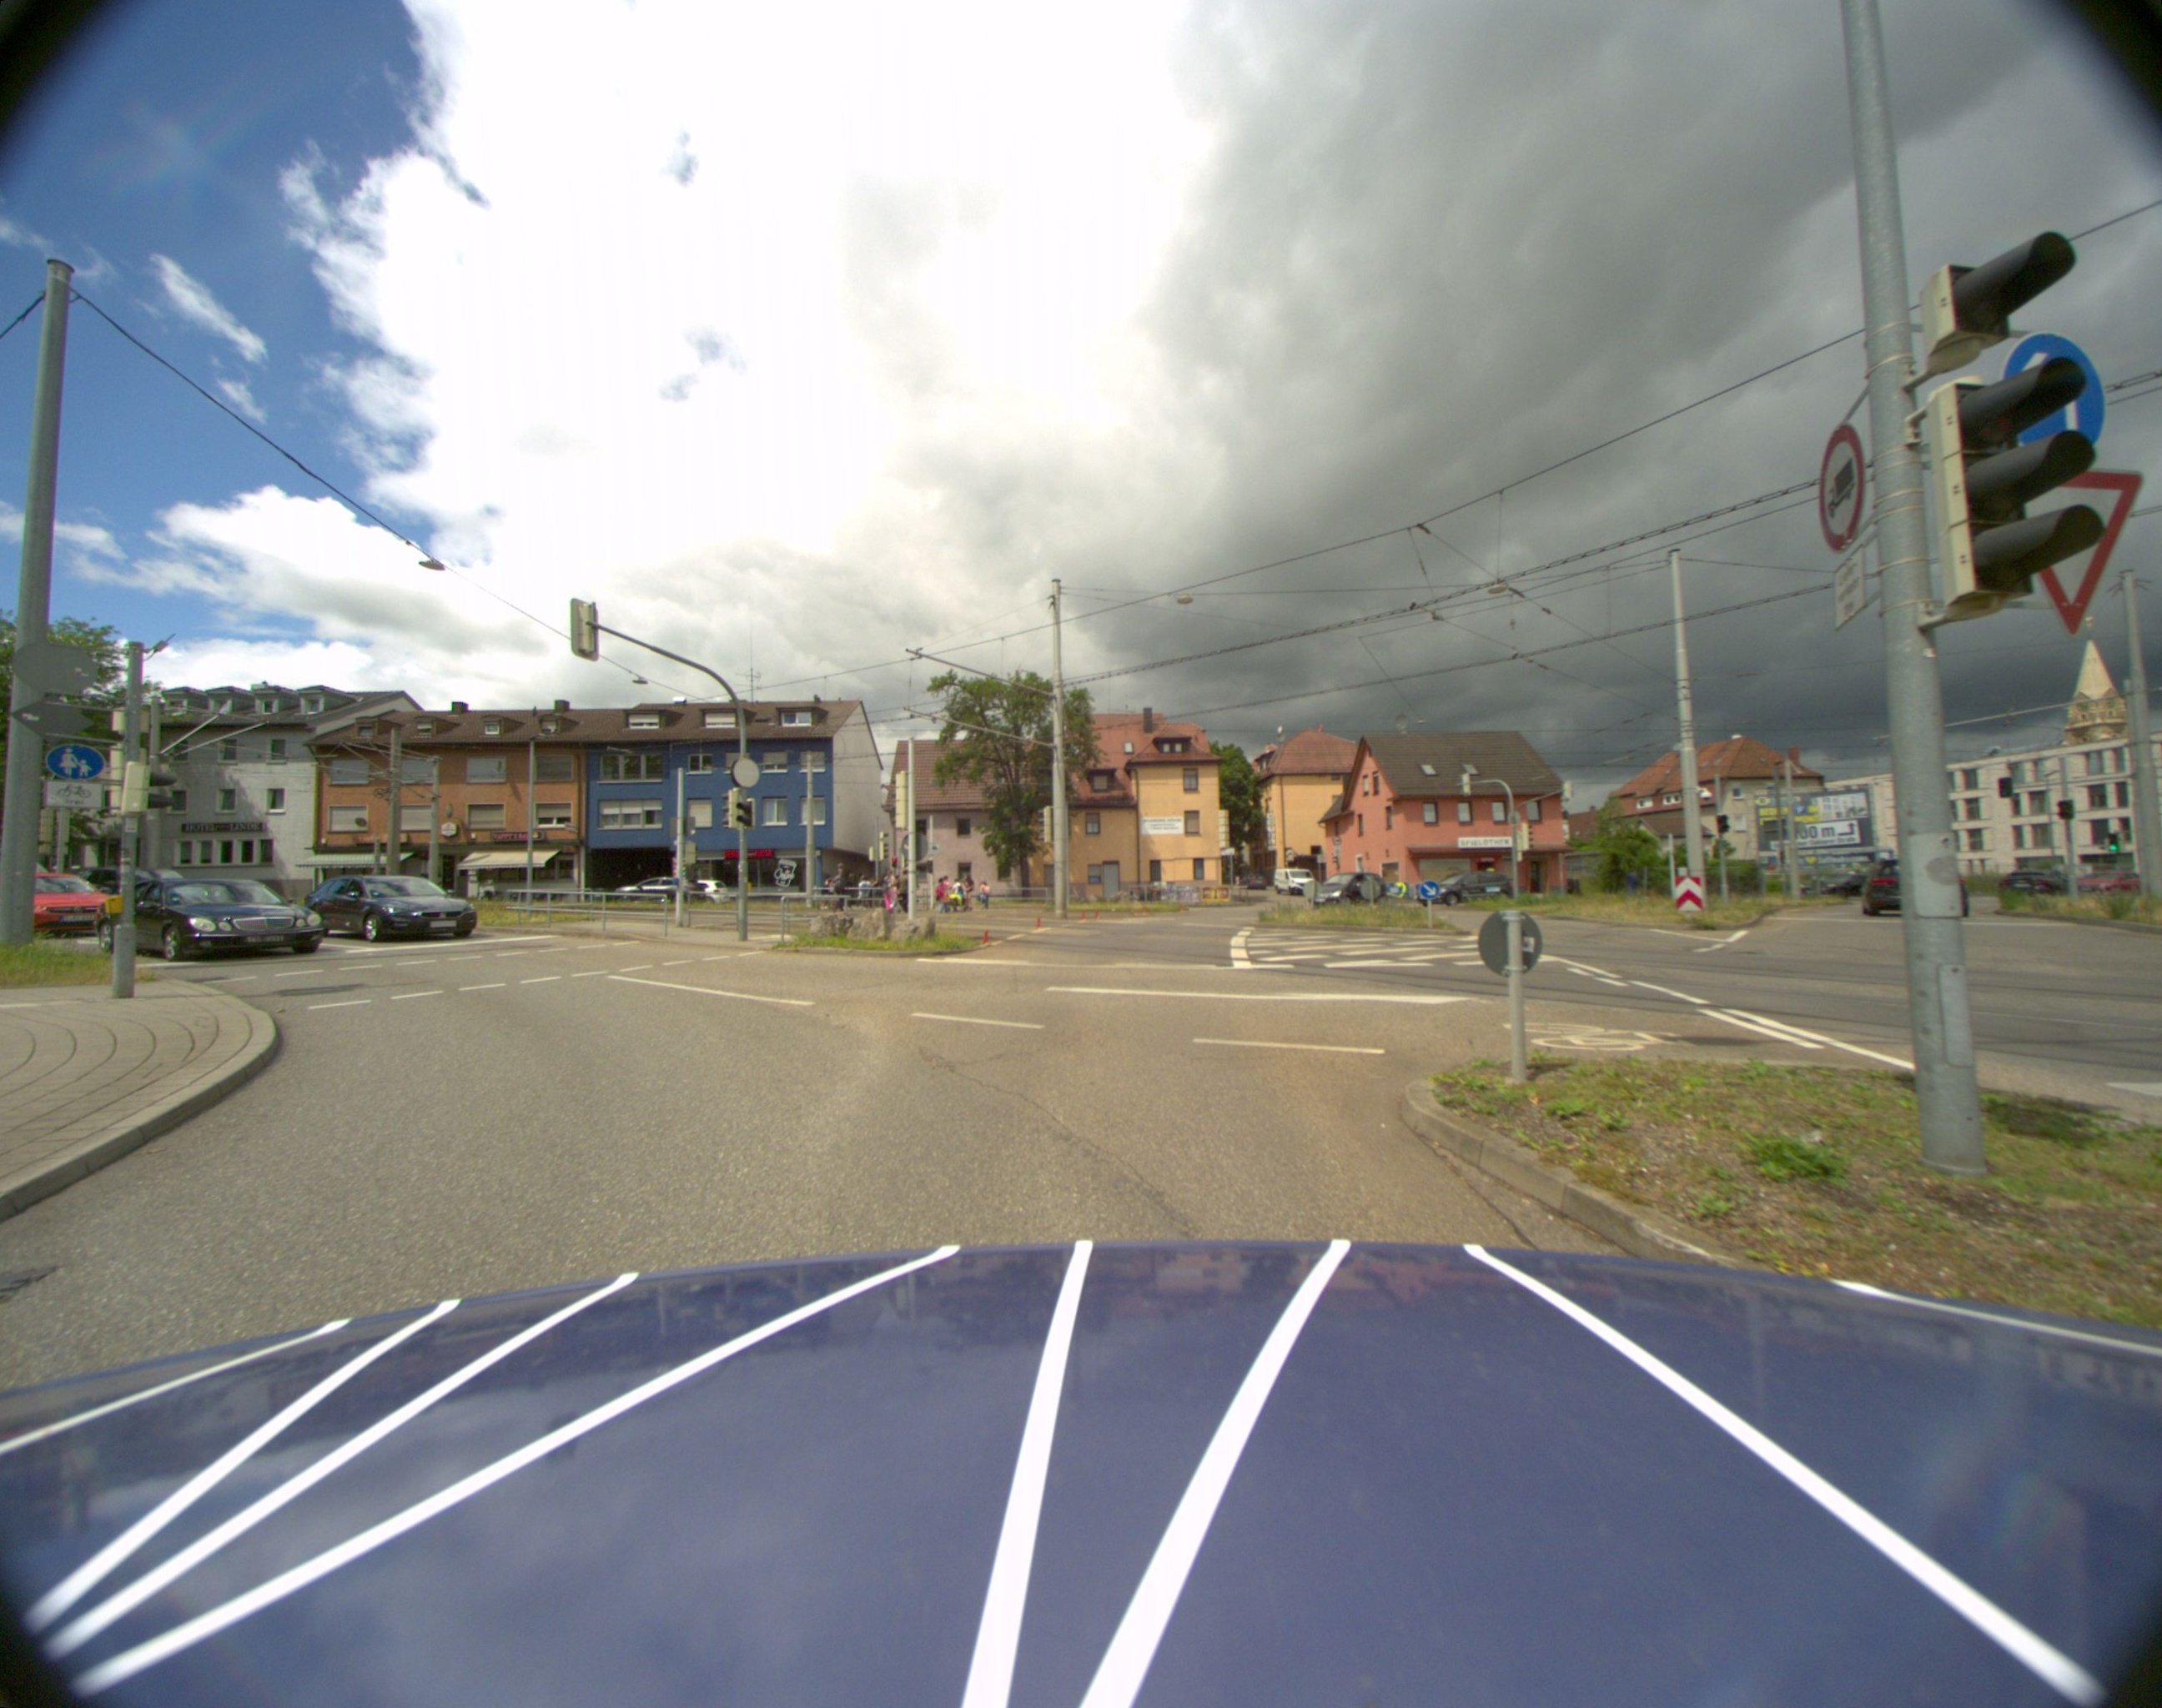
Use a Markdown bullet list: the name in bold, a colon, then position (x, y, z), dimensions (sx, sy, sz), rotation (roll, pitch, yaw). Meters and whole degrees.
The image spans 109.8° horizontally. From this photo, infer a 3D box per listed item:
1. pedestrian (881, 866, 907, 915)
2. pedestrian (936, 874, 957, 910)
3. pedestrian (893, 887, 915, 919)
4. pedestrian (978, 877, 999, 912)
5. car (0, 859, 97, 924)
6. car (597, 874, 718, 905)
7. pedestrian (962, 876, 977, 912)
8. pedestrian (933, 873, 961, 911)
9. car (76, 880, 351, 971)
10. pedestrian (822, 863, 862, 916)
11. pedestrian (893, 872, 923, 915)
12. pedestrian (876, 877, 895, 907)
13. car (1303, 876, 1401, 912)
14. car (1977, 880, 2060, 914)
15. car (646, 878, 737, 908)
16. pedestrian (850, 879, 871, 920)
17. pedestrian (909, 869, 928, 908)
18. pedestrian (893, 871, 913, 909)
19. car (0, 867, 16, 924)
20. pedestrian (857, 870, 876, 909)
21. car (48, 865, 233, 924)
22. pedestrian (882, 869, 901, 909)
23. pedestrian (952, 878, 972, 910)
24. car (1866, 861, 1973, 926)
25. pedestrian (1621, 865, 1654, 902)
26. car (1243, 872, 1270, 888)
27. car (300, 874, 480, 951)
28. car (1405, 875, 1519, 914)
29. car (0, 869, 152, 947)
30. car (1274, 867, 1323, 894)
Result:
- **pedestrian**: position (-6.756, 1.302, 27.433), dimensions (0.694, 1.739, 0.750), rotation (1, -2, -35)
- **pedestrian**: position (-5.697, 1.618, 32.191), dimensions (0.586, 1.482, 0.676), rotation (-4, -3, 18)
- **pedestrian**: position (-6.643, 1.819, 28.524), dimensions (0.676, 1.160, 0.586), rotation (0, -2, -31)
- **pedestrian**: position (-3.998, 1.736, 32.774), dimensions (0.540, 1.461, 0.781), rotation (-1, -2, 33)
- **car**: position (-32.995, 1.140, 23.223), dimensions (4.142, 1.869, 1.854), rotation (-1, -2, 10)
- **car**: position (-20.803, 1.776, 37.479), dimensions (4.853, 1.362, 1.920), rotation (-1, -3, -2)
- **pedestrian**: position (-4.766, 1.707, 32.491), dimensions (0.587, 1.518, 0.675), rotation (0, -1, -4)
- **pedestrian**: position (-5.196, 1.459, 29.463), dimensions (0.856, 1.472, 0.740), rotation (0, -2, -31)
- **car**: position (-16.134, 1.245, 14.149), dimensions (4.314, 1.456, 2.056), rotation (-1, -1, 22)
- **pedestrian**: position (-8.362, 1.248, 26.600), dimensions (0.824, 1.830, 0.970), rotation (0, -3, 32)
- **pedestrian**: position (-6.693, 1.514, 29.452), dimensions (0.893, 1.641, 0.824), rotation (1, -2, -33)
- **pedestrian**: position (-8.886, 1.721, 34.511), dimensions (0.674, 1.367, 0.635), rotation (0, -1, 3)
- **car**: position (11.533, 1.683, 32.276), dimensions (4.008, 1.419, 1.880), rotation (1, -4, -34)
- **car**: position (48.612, 2.162, 39.515), dimensions (1.948, 1.560, 4.498), rotation (1, 0, 41)
- **car**: position (-21.027, 2.109, 41.096), dimensions (3.997, 1.522, 1.713), rotation (0, -3, -1)
- **pedestrian**: position (-9.600, 1.967, 33.109), dimensions (0.754, 1.739, 0.586), rotation (0, -2, -31)
- **pedestrian**: position (-7.275, 1.541, 33.975), dimensions (0.674, 1.739, 0.587), rotation (-1, -1, 3)
- **pedestrian**: position (-7.548, 1.529, 32.292), dimensions (0.675, 1.555, 0.588), rotation (-3, -5, 0)
- **car**: position (-29.818, 1.077, 19.463), dimensions (3.991, 1.454, 1.906), rotation (-1, -2, 20)
- **pedestrian**: position (-9.689, 1.619, 34.391), dimensions (0.674, 1.739, 0.587), rotation (-1, -1, 3)
- **car**: position (-27.652, 1.181, 22.379), dimensions (3.992, 1.629, 1.930), rotation (-1, -2, 15)
- **pedestrian**: position (-8.336, 1.520, 33.393), dimensions (0.674, 1.739, 0.587), rotation (-1, -1, 3)
- **pedestrian**: position (-5.324, 1.794, 34.040), dimensions (0.586, 1.391, 0.677), rotation (-1, -2, 28)
- **car**: position (23.058, 1.012, 21.028), dimensions (4.306, 1.571, 1.806), rotation (0, -1, -44)
- **pedestrian**: position (32.549, 1.751, 44.478), dimensions (1.127, 2.134, 1.053), rotation (0, -1, 2)
- **car**: position (15.828, 2.391, 68.639), dimensions (1.561, 1.362, 3.133), rotation (-1, -3, -2)
- **car**: position (-15.864, 1.250, 17.422), dimensions (4.082, 1.429, 1.743), rotation (1, 1, 27)
- **car**: position (17.623, 1.873, 35.190), dimensions (4.422, 1.639, 1.999), rotation (-1, -3, -14)
- **car**: position (-24.005, 1.242, 17.599), dimensions (3.991, 1.632, 2.004), rotation (-2, -2, 22)
- **car**: position (16.395, 2.011, 57.524), dimensions (2.080, 1.886, 4.663), rotation (-2, -2, -2)
